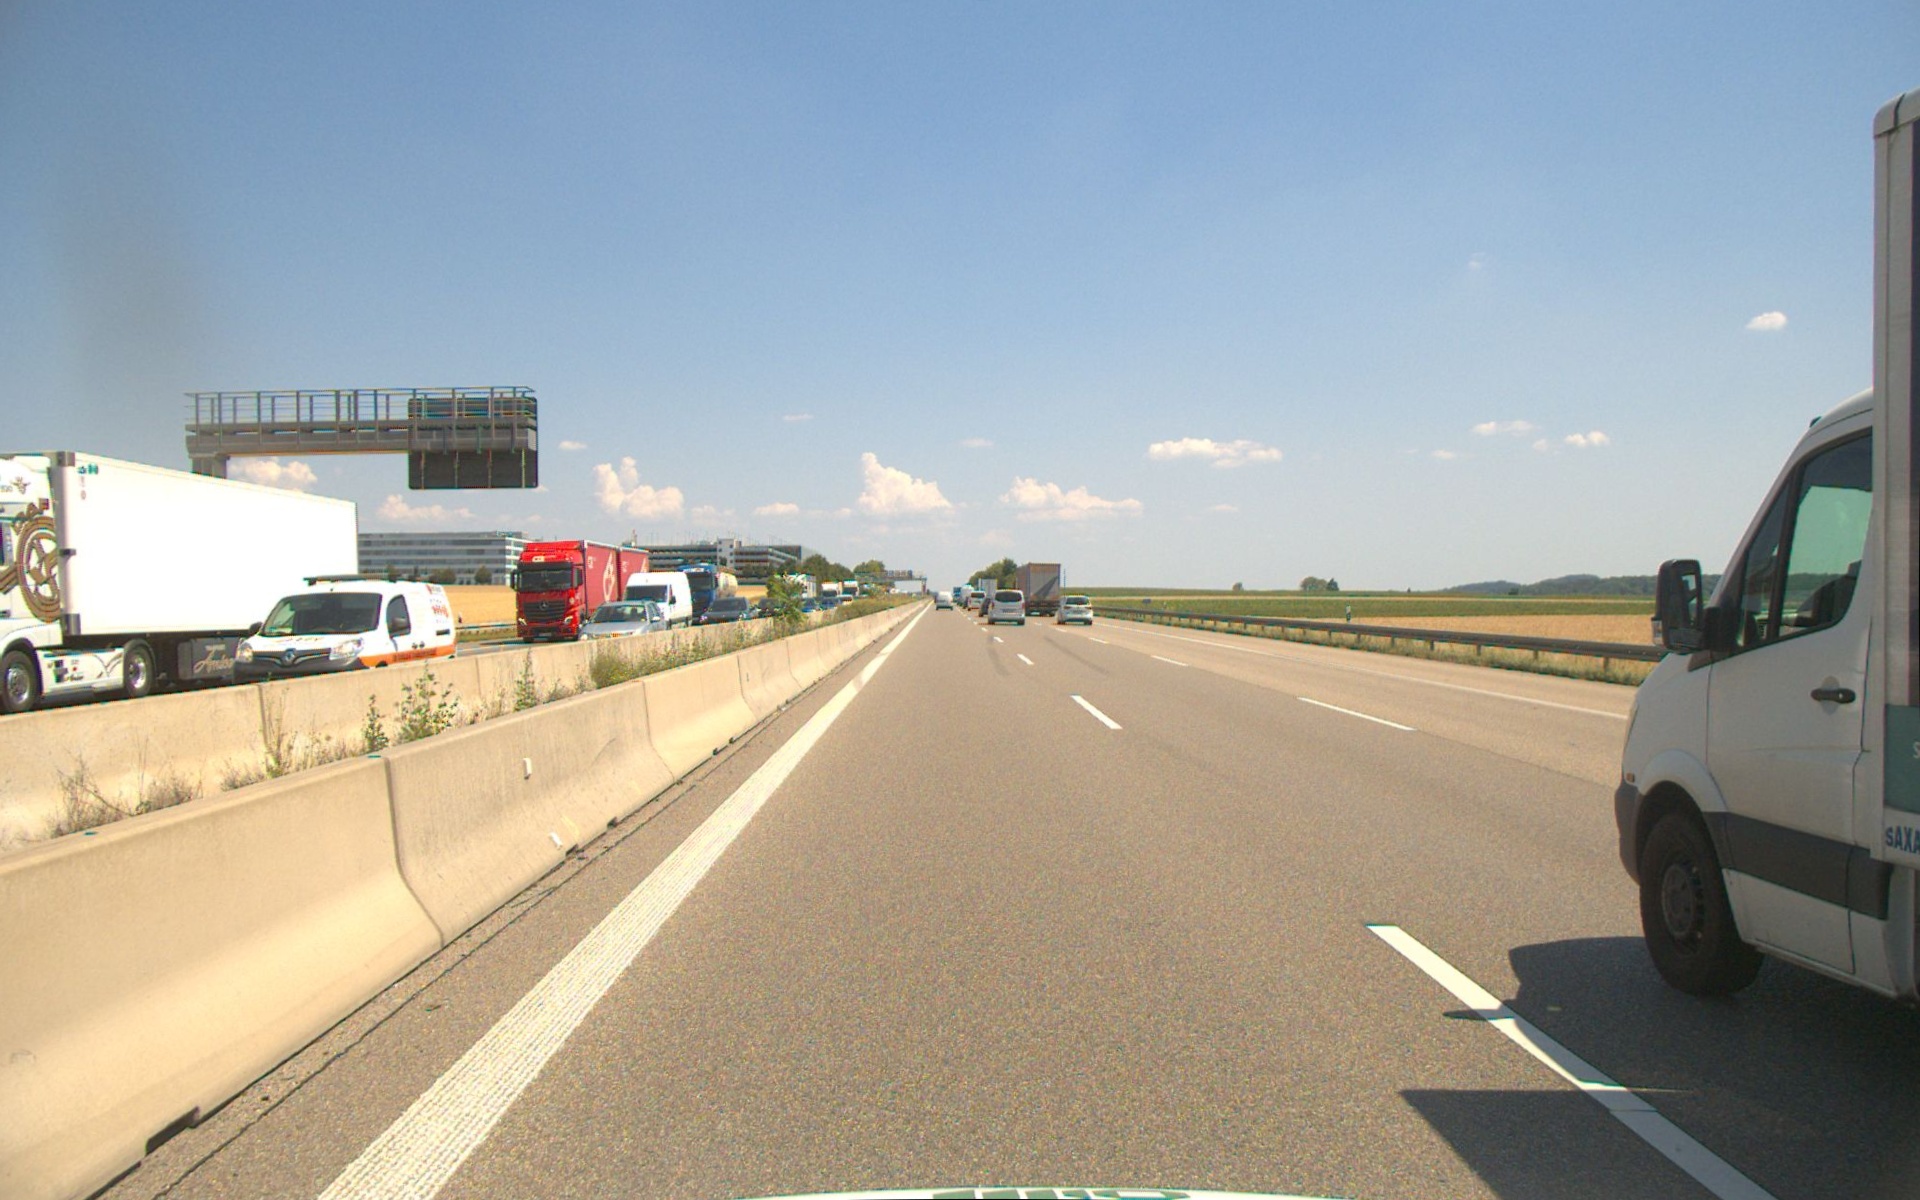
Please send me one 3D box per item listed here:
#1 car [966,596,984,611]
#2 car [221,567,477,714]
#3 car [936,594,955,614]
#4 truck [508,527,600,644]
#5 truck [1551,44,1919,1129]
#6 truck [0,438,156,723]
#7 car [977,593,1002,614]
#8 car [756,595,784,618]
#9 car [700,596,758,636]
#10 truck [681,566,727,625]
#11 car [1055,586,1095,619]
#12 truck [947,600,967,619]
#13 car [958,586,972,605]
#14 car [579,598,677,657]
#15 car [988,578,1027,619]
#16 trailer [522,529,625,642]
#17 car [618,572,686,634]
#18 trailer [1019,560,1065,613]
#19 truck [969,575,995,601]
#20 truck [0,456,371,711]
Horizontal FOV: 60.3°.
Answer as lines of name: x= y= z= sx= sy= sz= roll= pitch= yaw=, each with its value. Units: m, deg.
car: x=1.501 y=0.389 z=168.171 sx=1.737 sy=1.473 sz=3.999 roll=0 pitch=-1 yaw=-1
car: x=-8.198 y=0.485 z=22.727 sx=1.779 sy=1.784 sz=4.991 roll=0 pitch=0 yaw=-2
car: x=-1.480 y=0.436 z=171.090 sx=1.953 sy=2.049 sz=3.999 roll=0 pitch=-1 yaw=-1
truck: x=-16.763 y=-0.600 z=68.585 sx=2.720 sy=4.678 sz=4.722 roll=0 pitch=0 yaw=-2
truck: x=3.914 y=-0.030 z=4.125 sx=2.274 sy=3.121 sz=6.749 roll=1 pitch=0 yaw=-2
truck: x=-15.719 y=-0.262 z=26.564 sx=2.890 sy=4.230 sz=5.470 roll=-2 pitch=0 yaw=-1
car: x=2.141 y=0.253 z=121.451 sx=1.737 sy=1.473 sz=3.999 roll=0 pitch=-1 yaw=-1
car: x=-13.020 y=0.446 z=113.321 sx=1.593 sy=1.495 sz=3.718 roll=0 pitch=0 yaw=-2
car: x=-8.439 y=0.564 z=60.632 sx=1.683 sy=1.374 sz=3.772 roll=0 pitch=0 yaw=-2
truck: x=-16.620 y=-0.307 z=107.528 sx=2.067 sy=3.663 sz=7.118 roll=0 pitch=0 yaw=-2
car: x=6.527 y=0.184 z=94.273 sx=1.953 sy=1.825 sz=3.999 roll=0 pitch=-1 yaw=-1
truck: x=-0.376 y=1.061 z=189.520 sx=2.167 sy=2.049 sz=4.970 roll=-1 pitch=0 yaw=-2
car: x=0.684 y=-0.618 z=223.097 sx=1.737 sy=2.434 sz=3.999 roll=0 pitch=-1 yaw=-1
car: x=-8.196 y=0.641 z=41.131 sx=1.779 sy=1.374 sz=3.772 roll=0 pitch=0 yaw=-2
car: x=2.528 y=-0.049 z=89.738 sx=1.953 sy=2.157 sz=3.999 roll=0 pitch=-1 yaw=-1
trailer: x=-16.888 y=-0.622 z=72.849 sx=2.720 sy=4.678 sz=8.599 roll=0 pitch=0 yaw=-2
car: x=-12.380 y=0.107 z=66.868 sx=1.822 sy=2.377 sz=5.705 roll=0 pitch=0 yaw=-2
trailer: x=6.545 y=-1.015 z=133.559 sx=3.211 sy=4.037 sz=9.110 roll=0 pitch=-1 yaw=-1
truck: x=3.385 y=-1.828 z=256.565 sx=3.738 sy=3.973 sz=9.578 roll=-1 pitch=0 yaw=-1
truck: x=-15.877 y=-0.299 z=34.243 sx=2.890 sy=4.230 sz=12.863 roll=-2 pitch=0 yaw=-1
